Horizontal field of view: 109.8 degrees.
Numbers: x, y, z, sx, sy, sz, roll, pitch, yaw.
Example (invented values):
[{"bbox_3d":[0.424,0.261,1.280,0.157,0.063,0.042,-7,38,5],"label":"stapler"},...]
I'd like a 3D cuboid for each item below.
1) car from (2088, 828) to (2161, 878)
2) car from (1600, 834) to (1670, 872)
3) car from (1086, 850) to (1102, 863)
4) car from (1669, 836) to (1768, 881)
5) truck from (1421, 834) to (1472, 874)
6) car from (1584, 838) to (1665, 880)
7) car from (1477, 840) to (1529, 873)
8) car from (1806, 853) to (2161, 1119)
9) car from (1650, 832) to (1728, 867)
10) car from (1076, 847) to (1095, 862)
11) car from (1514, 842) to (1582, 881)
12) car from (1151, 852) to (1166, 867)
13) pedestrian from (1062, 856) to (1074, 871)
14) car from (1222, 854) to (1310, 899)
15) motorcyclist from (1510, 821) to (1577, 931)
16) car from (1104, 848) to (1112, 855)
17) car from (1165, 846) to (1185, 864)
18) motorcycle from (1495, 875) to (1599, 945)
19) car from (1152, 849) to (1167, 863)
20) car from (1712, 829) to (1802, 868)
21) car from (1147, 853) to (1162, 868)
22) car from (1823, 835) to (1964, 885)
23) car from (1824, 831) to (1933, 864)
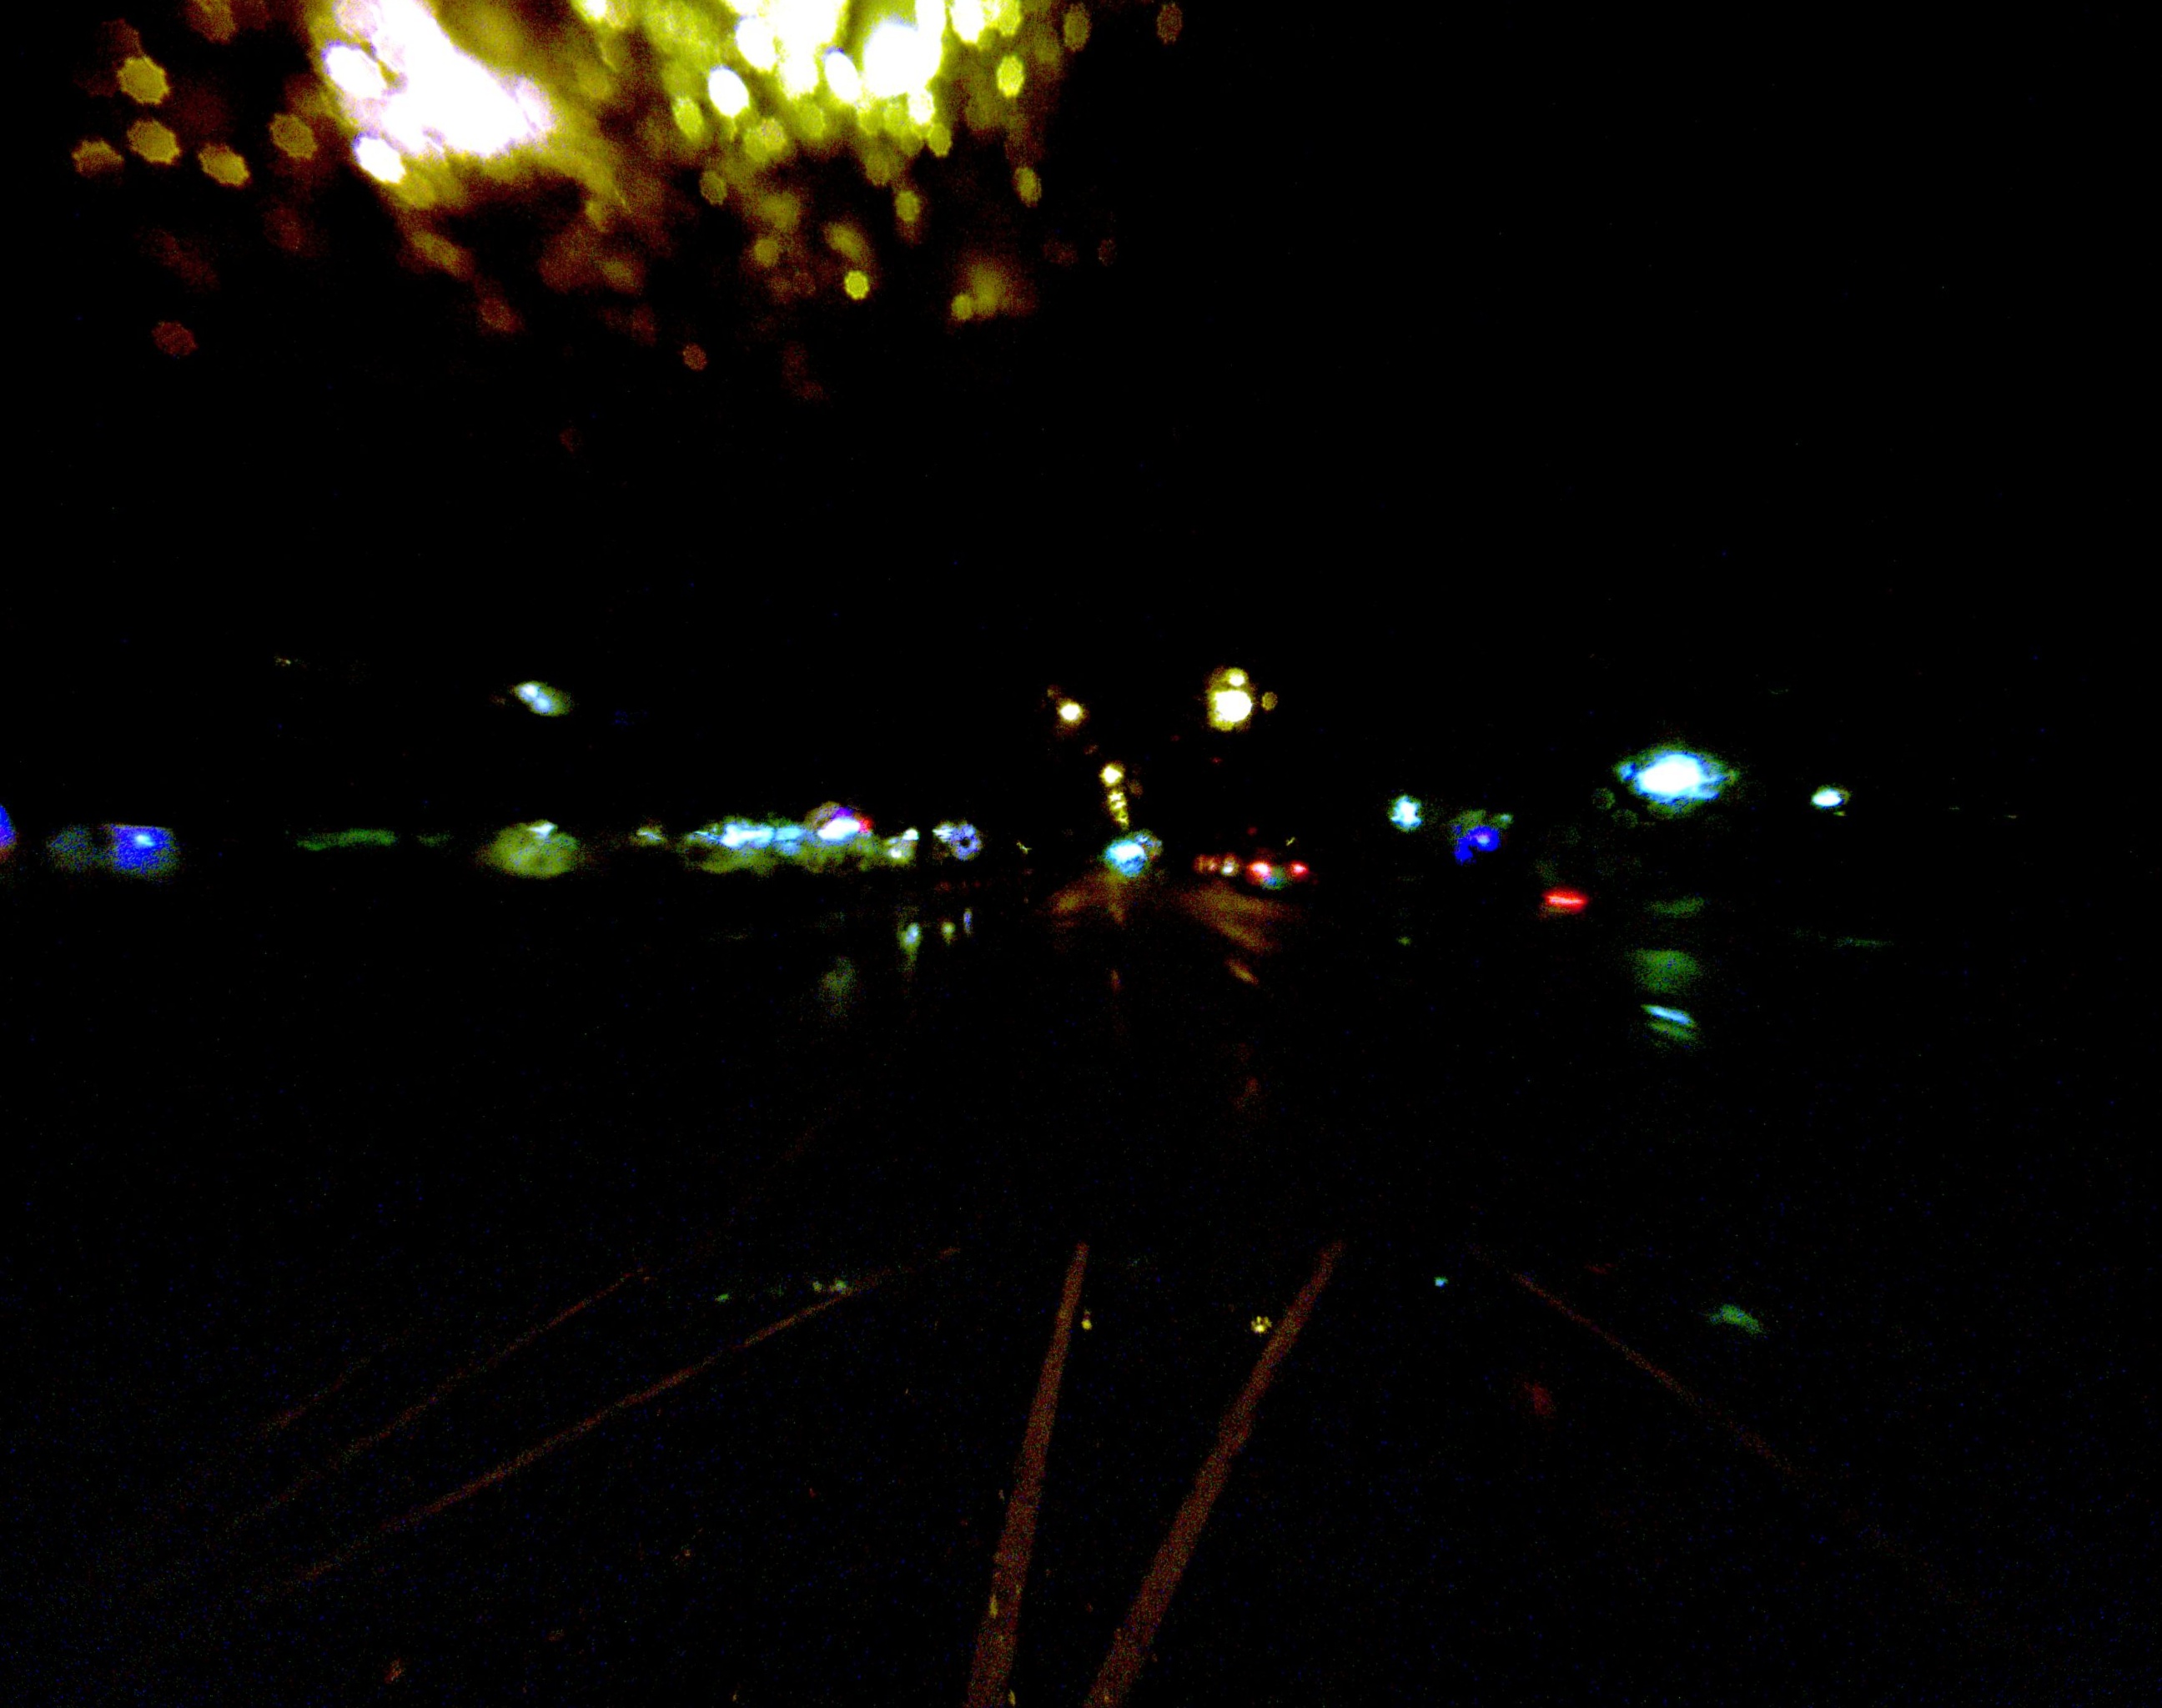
[{"bbox_3d":[34.537,-0.043,23.890,1.715,1.511,3.924,-1,1,23],"label":"car"},{"bbox_3d":[28.043,-0.094,38.609,1.866,1.784,4.500,-1,1,22],"label":"car"},{"bbox_3d":[1.568,0.309,91.152,1.826,1.414,4.488,0,1,3],"label":"car"},{"bbox_3d":[23.313,0.120,27.971,1.715,1.511,3.924,-1,1,23],"label":"car"},{"bbox_3d":[19.996,-0.005,41.774,2.125,2.002,5.270,-1,0,22],"label":"truck"},{"bbox_3d":[20.944,0.148,29.433,1.715,1.511,3.924,-1,1,23],"label":"car"},{"bbox_3d":[22.476,0.112,40.614,1.866,1.604,4.500,-1,1,22],"label":"car"},{"bbox_3d":[6.976,0.770,4.330,1.650,1.503,4.108,1,0,-2],"label":"car"},{"bbox_3d":[30.461,-0.246,38.219,1.866,1.604,4.500,-1,1,22],"label":"car"},{"bbox_3d":[0.519,0.020,84.571,1.826,1.522,4.783,0,1,3],"label":"car"},{"bbox_3d":[18.598,0.258,30.399,1.715,1.423,3.924,-1,1,23],"label":"car"},{"bbox_3d":[10.887,0.795,106.803,1.477,1.610,3.374,20,2,2],"label":"car"},{"bbox_3d":[-1.377,0.995,80.826,1.052,1.566,1.019,-2,1,9],"label":"pedestrian"},{"bbox_3d":[6.645,0.747,27.811,1.857,1.491,4.768,-1,0,-3],"label":"car"},{"bbox_3d":[8.679,0.396,14.287,0.694,2.002,0.983,-1,1,3],"label":"motorcyclist"},{"bbox_3d":[5.721,-0.523,161.633,1.799,1.465,3.951,0,1,1],"label":"car"},{"bbox_3d":[8.724,0.063,70.699,1.601,1.555,4.380,2,1,4],"label":"car"},{"bbox_3d":[8.695,1.002,14.307,0.703,1.132,2.175,-1,1,2],"label":"motorcycle"},{"bbox_3d":[9.486,0.234,91.953,1.601,1.596,4.259,2,1,4],"label":"car"},{"bbox_3d":[32.529,-0.302,36.730,1.866,1.750,4.500,-1,1,22],"label":"car"},{"bbox_3d":[8.370,0.721,86.859,1.601,1.478,4.275,2,1,4],"label":"car"},{"bbox_3d":[26.444,0.151,24.911,1.715,1.511,3.924,-1,1,23],"label":"car"},{"bbox_3d":[37.336,-0.327,35.747,1.866,1.434,4.500,-1,1,22],"label":"car"}]
